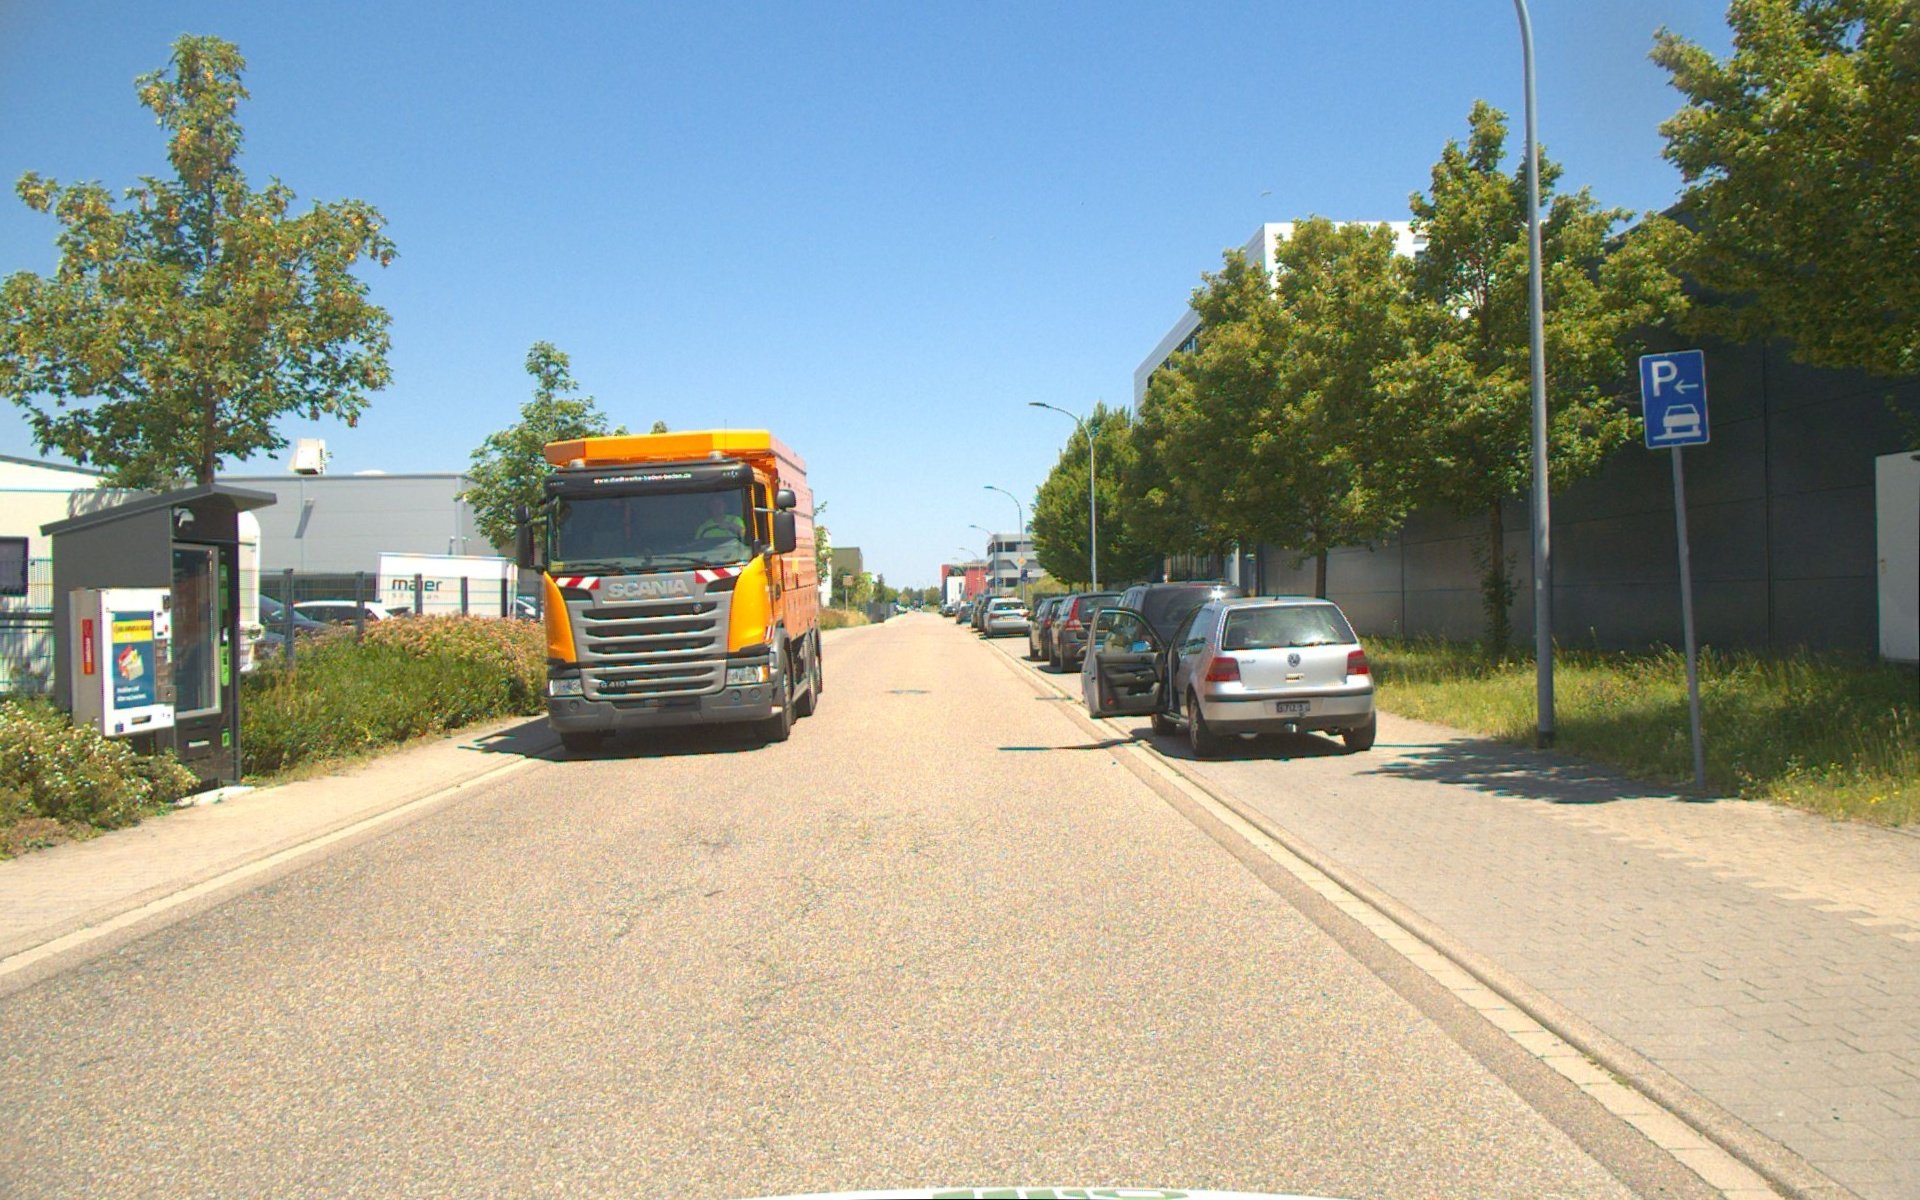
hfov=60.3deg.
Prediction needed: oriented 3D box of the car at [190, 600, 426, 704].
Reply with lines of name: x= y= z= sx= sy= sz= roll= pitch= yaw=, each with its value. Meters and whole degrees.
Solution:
car: x=-11.157 y=0.871 z=28.456 sx=3.418 sy=1.639 sz=1.499 roll=-1 pitch=0 yaw=-2

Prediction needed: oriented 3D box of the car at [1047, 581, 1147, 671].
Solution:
car: x=2.778 y=0.509 z=34.361 sx=1.686 sy=1.724 sz=3.983 roll=-1 pitch=0 yaw=0

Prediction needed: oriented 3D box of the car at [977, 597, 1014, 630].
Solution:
car: x=1.591 y=0.586 z=75.183 sx=1.465 sy=1.434 sz=3.499 roll=-1 pitch=0 yaw=-1

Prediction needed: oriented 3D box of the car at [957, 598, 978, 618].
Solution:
car: x=0.548 y=0.614 z=127.802 sx=1.465 sy=1.434 sz=3.499 roll=-1 pitch=0 yaw=-1

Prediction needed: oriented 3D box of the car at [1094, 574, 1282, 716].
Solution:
car: x=2.988 y=0.562 z=22.501 sx=1.645 sy=1.716 sz=3.996 roll=-1 pitch=0 yaw=-5

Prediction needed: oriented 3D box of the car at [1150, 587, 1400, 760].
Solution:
car: x=3.010 y=0.662 z=16.522 sx=1.683 sy=1.475 sz=3.645 roll=-2 pitch=0 yaw=-1

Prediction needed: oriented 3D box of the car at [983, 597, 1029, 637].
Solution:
car: x=1.747 y=0.627 z=63.436 sx=1.553 sy=1.434 sz=3.499 roll=-1 pitch=0 yaw=-1

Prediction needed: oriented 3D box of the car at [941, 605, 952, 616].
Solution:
car: x=-1.955 y=1.517 z=238.745 sx=1.465 sy=1.434 sz=3.499 roll=-1 pitch=0 yaw=-1

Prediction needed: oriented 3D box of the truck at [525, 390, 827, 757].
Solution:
truck: x=-3.175 y=-0.285 z=20.718 sx=2.399 sy=3.574 sz=8.270 roll=-2 pitch=0 yaw=-1

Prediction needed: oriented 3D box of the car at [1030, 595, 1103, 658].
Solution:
car: x=2.578 y=0.619 z=40.689 sx=1.465 sy=1.434 sz=3.499 roll=-1 pitch=0 yaw=-1

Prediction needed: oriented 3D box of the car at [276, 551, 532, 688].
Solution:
car: x=-11.456 y=0.387 z=34.346 sx=4.623 sy=2.631 sz=1.998 roll=-2 pitch=0 yaw=-5

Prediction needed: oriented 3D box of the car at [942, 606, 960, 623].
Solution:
car: x=-0.791 y=1.261 z=143.958 sx=1.465 sy=1.434 sz=3.499 roll=-1 pitch=0 yaw=-1

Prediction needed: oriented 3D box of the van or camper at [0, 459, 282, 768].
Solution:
van or camper: x=-11.639 y=0.208 z=18.040 sx=7.236 sy=3.090 sz=2.789 roll=-1 pitch=0 yaw=-2
